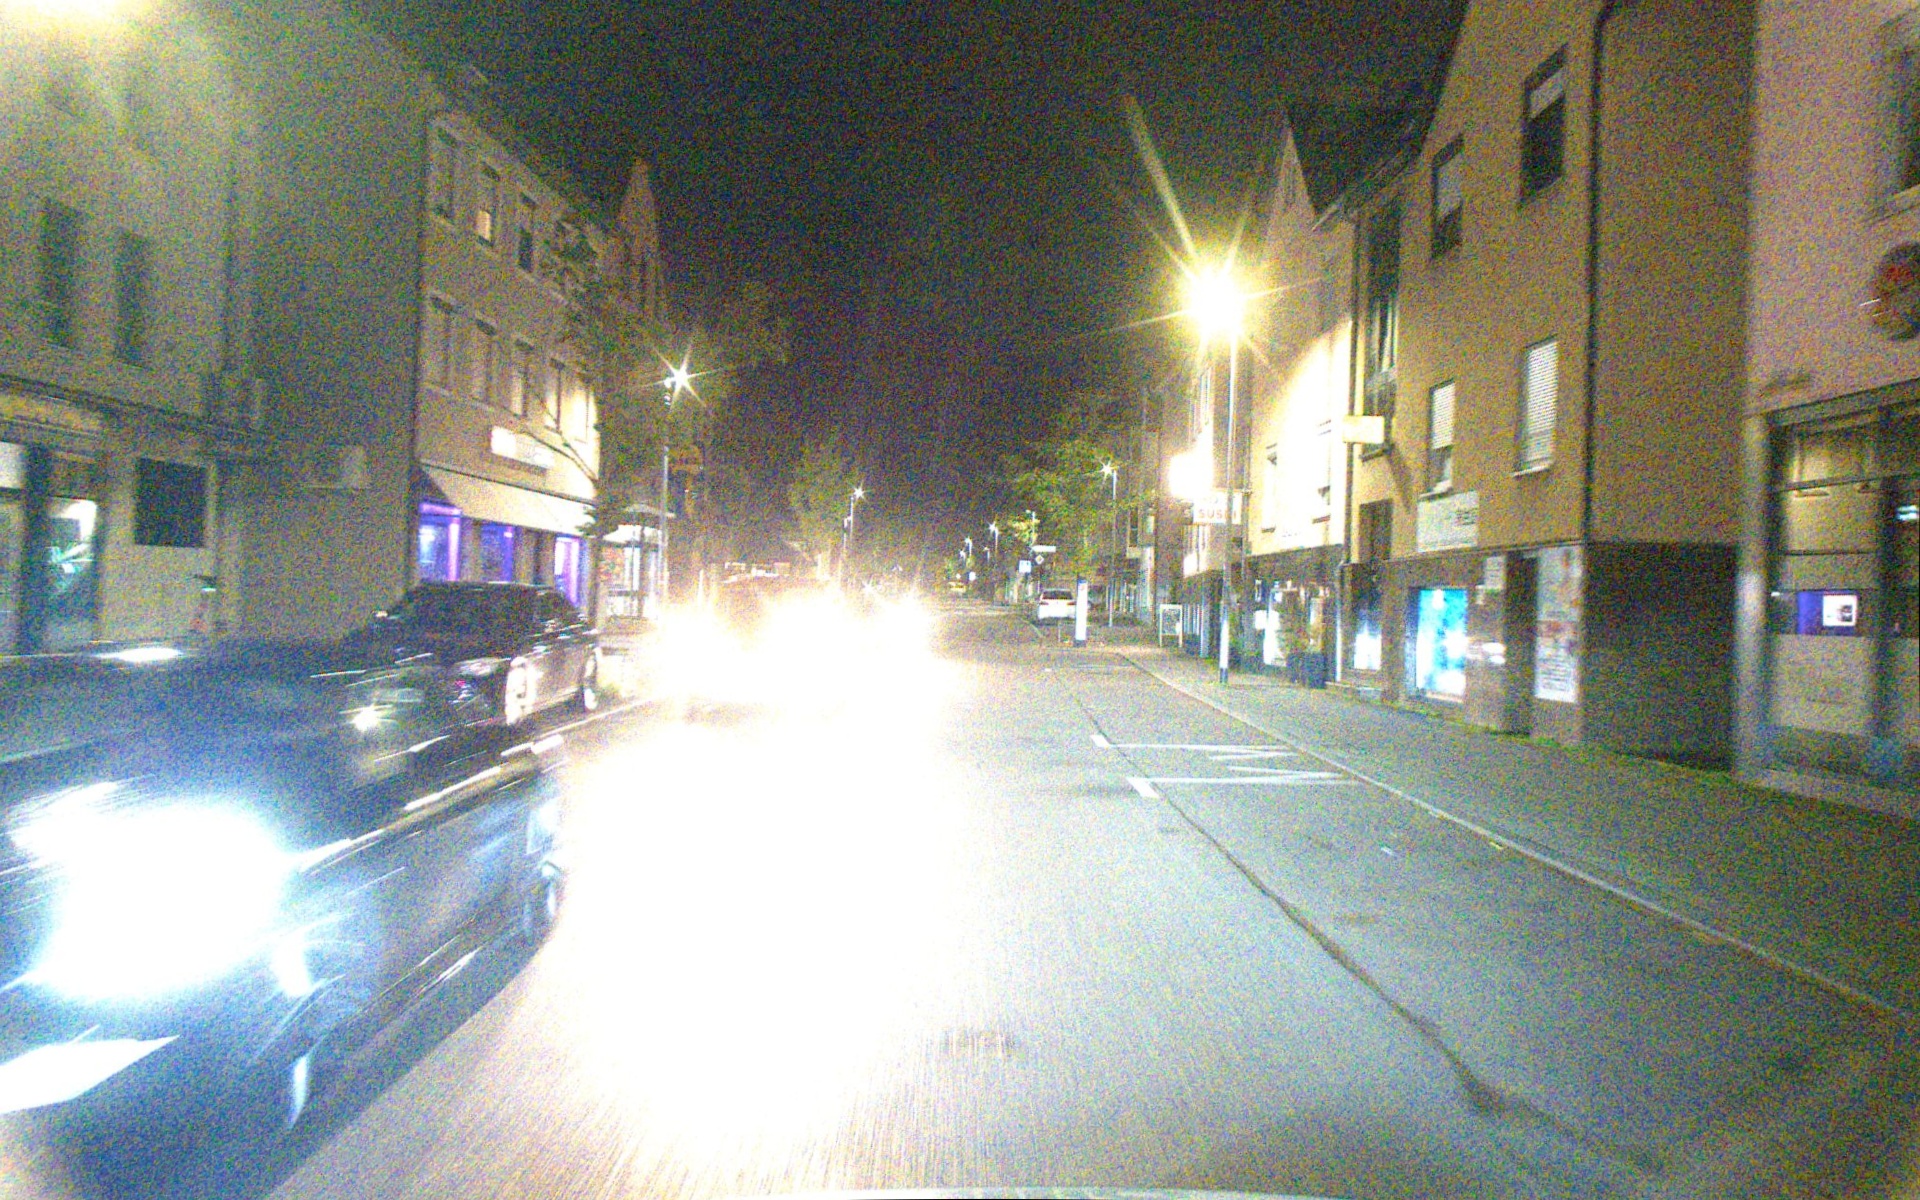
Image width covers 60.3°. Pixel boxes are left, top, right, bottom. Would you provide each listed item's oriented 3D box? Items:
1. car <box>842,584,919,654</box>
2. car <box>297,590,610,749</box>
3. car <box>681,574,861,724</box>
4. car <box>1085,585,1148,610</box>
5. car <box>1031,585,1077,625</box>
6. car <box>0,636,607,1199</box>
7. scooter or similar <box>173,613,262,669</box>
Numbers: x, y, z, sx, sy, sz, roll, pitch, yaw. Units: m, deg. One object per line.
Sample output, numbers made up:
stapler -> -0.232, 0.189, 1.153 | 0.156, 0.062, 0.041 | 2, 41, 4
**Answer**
car -> -1.982, 0.433, 42.353 | 1.739, 1.681, 4.364 | 1, 1, 0
car -> -5.099, 0.623, 17.329 | 1.875, 1.394, 4.457 | 1, 1, 0
car -> -2.280, 0.536, 20.960 | 1.739, 1.681, 4.364 | 1, 1, 0
car -> 9.882, -0.148, 104.348 | 3.903, 1.441, 2.001 | 1, -1, 4
car -> 4.014, 0.188, 71.146 | 1.739, 1.681, 4.364 | 1, 1, 0
car -> -2.437, 0.812, 5.319 | 1.688, 1.268, 4.237 | 1, 0, 0
scooter or similar -> -11.088, 0.609, 24.718 | 1.073, 0.795, 0.524 | 1, 0, -4
